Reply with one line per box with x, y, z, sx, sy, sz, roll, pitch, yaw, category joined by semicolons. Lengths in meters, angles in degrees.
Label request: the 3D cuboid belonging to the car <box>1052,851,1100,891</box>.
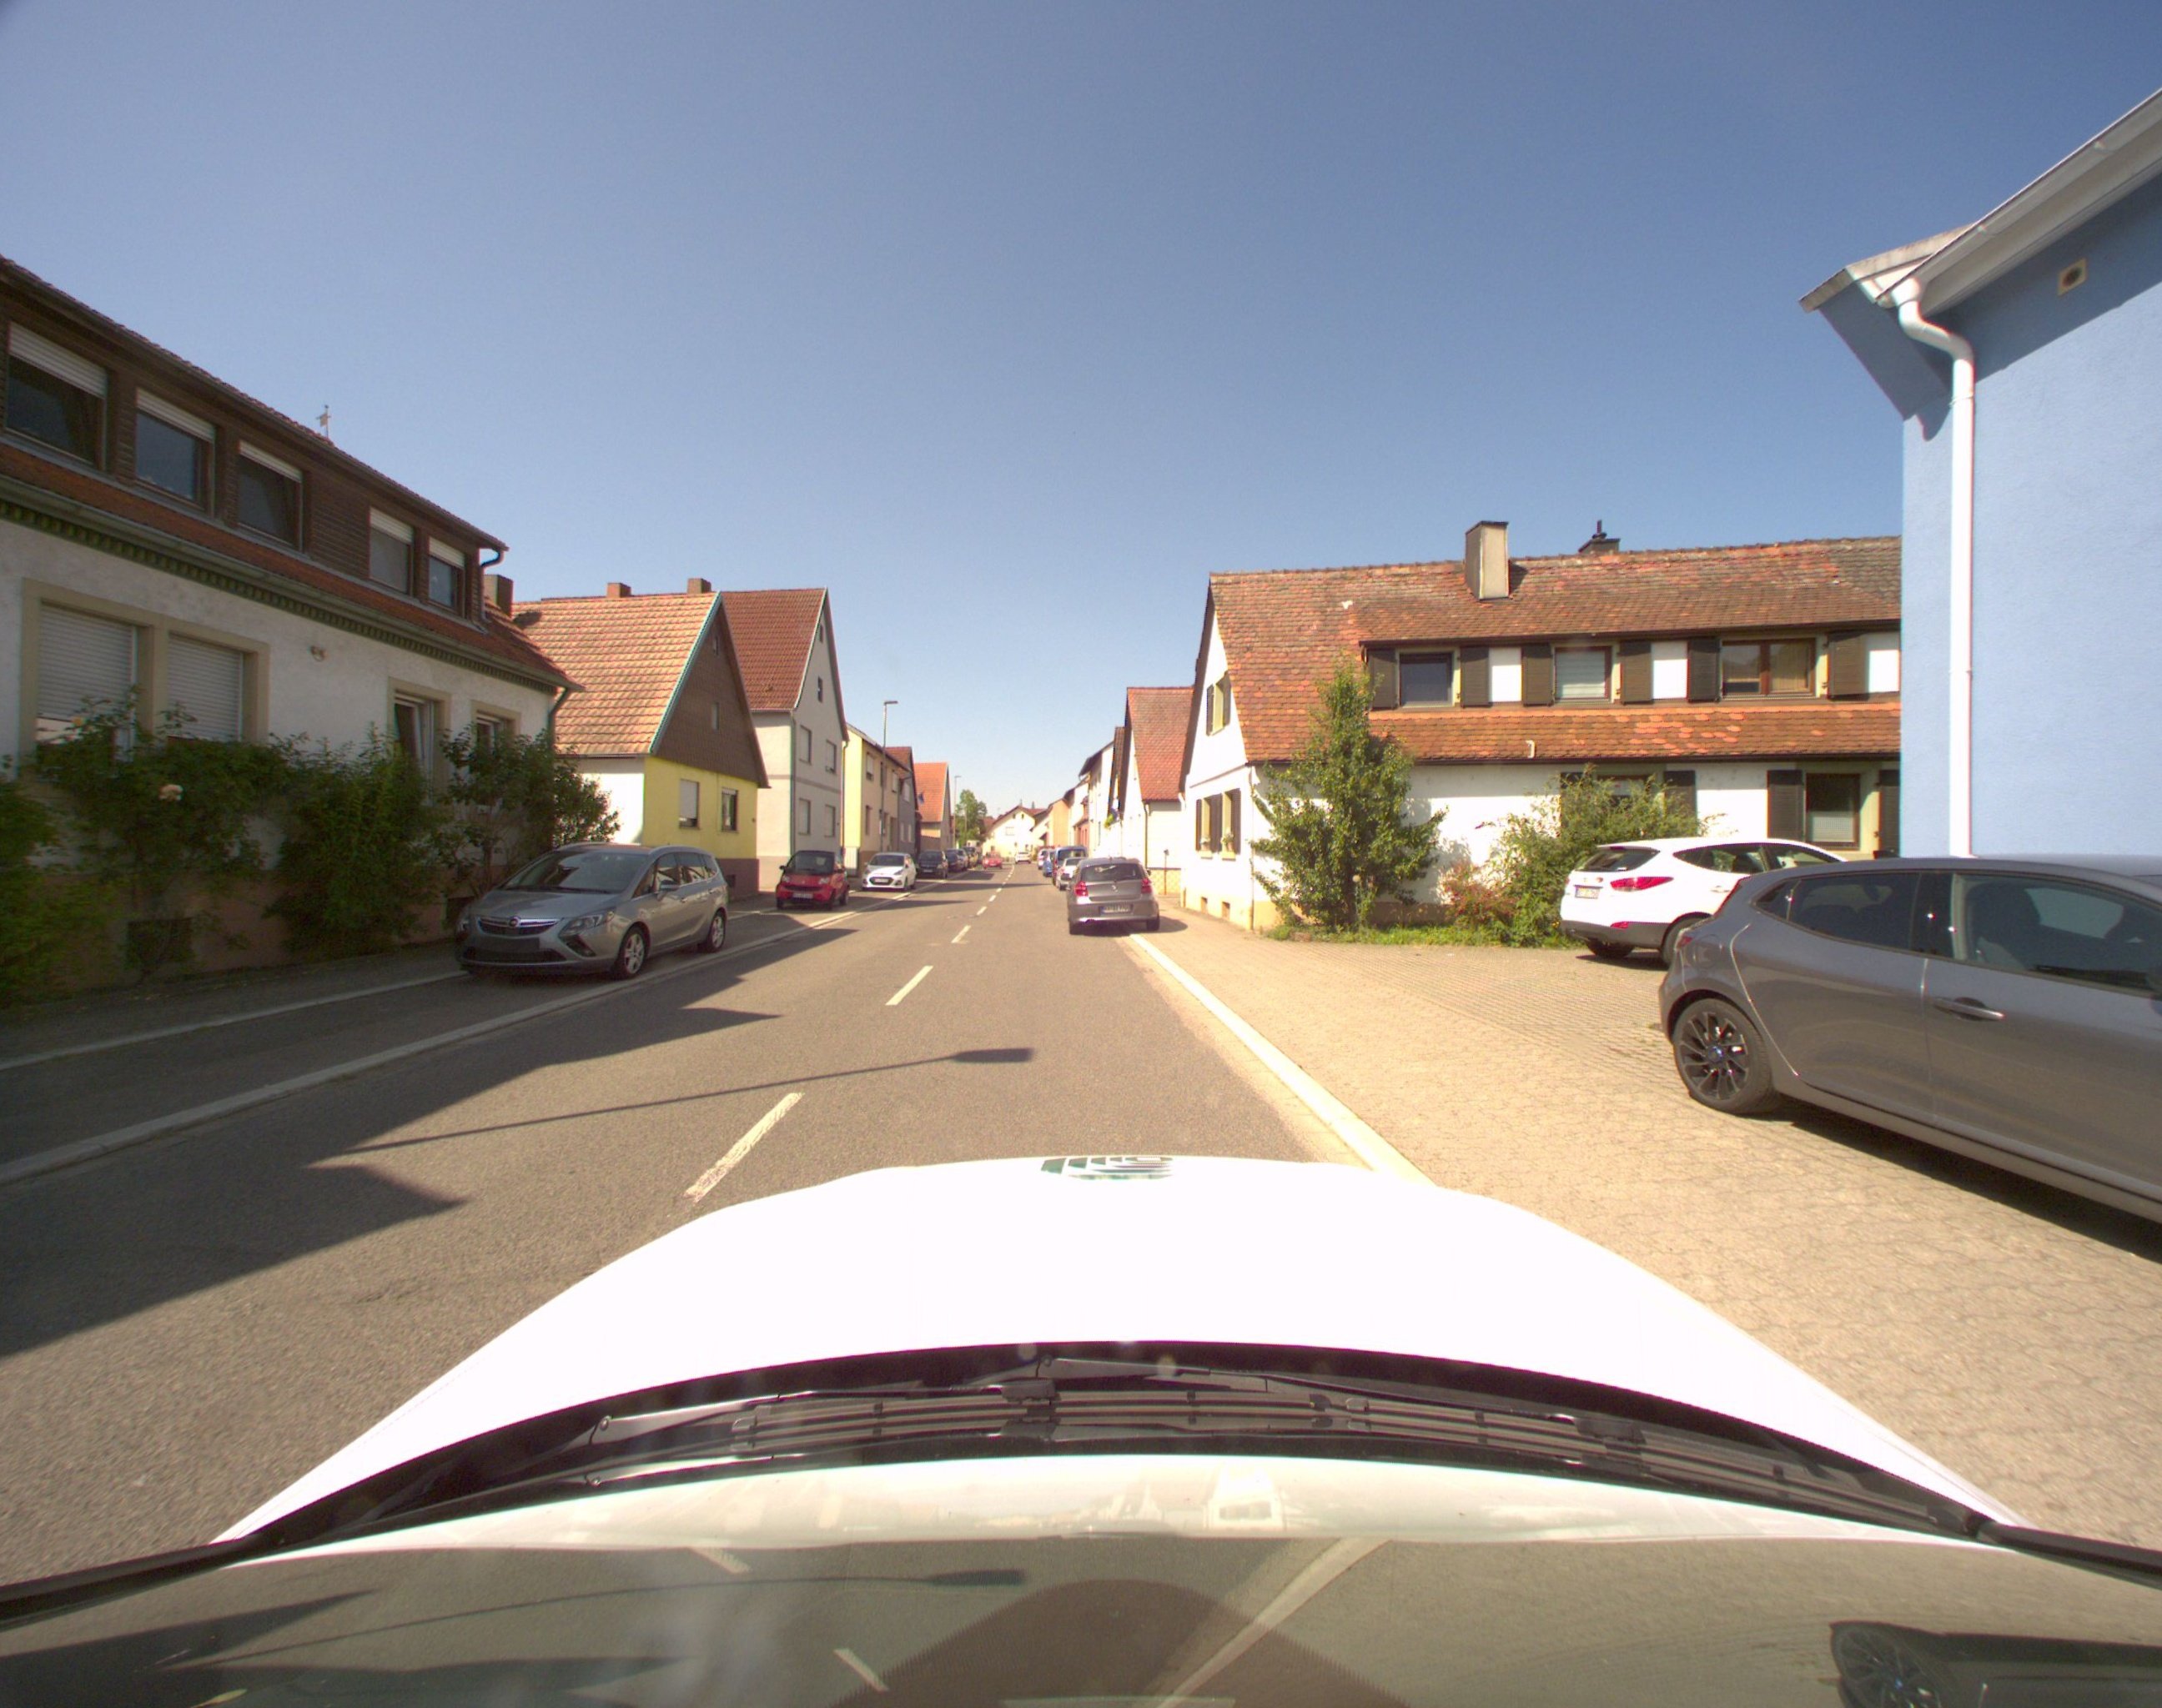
-0.243;0.661;33.137;1.701;1.497;3.447;2;0;-4;car

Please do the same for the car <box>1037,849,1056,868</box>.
-2.821;0.376;66.596;1.418;1.515;3.298;2;0;-4;car

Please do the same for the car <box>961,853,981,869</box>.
-10.035;0.622;74.264;1.524;1.356;3.620;2;0;-4;car

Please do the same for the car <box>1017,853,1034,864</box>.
-6.705;0.573;97.780;1.990;1.288;3.994;0;-1;-4;car

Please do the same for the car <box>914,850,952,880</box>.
-8.286;0.581;45.852;1.616;1.577;3.955;2;0;-4;car

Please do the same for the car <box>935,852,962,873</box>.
-9.368;0.610;57.679;1.501;1.453;3.504;0;-1;-3;car

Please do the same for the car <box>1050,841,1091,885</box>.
-0.527;0.418;38.048;1.646;1.910;3.620;2;0;-4;car

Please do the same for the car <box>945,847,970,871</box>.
-9.361;0.402;61.889;1.524;1.713;3.620;2;0;-4;car

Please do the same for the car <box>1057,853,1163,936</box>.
0.466;0.728;16.542;1.701;1.433;3.883;-2;0;-4;car

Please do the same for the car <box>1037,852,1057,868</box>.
-3.144;0.588;74.397;1.763;1.433;3.446;0;-1;-3;car

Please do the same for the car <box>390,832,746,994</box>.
-6.280;0.633;10.797;1.868;1.637;4.659;2;0;-3;car

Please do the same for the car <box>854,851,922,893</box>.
-7.613;0.681;32.573;1.802;1.548;4.399;2;0;-3;car

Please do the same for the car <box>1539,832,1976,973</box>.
8.558;0.579;10.618;4.158;1.657;1.813;0;-1;2;car

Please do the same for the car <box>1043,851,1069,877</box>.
-1.543;0.593;49.089;1.418;1.515;3.298;2;0;-4;car

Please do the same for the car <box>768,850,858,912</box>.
-7.287;0.696;22.367;1.549;1.544;2.984;2;0;-3;car

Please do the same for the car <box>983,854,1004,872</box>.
-7.505;0.785;69.830;1.598;1.489;3.620;2;0;-4;car

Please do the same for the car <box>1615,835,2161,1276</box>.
4.327;0.672;3.207;1.685;1.420;4.143;1;-1;-1;car

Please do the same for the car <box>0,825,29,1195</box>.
-5.711;0.636;1.318;1.915;1.668;4.661;3;-1;-2;car

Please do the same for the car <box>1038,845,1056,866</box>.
-3.355;0.176;79.817;1.763;2.004;3.446;0;-1;-3;car
